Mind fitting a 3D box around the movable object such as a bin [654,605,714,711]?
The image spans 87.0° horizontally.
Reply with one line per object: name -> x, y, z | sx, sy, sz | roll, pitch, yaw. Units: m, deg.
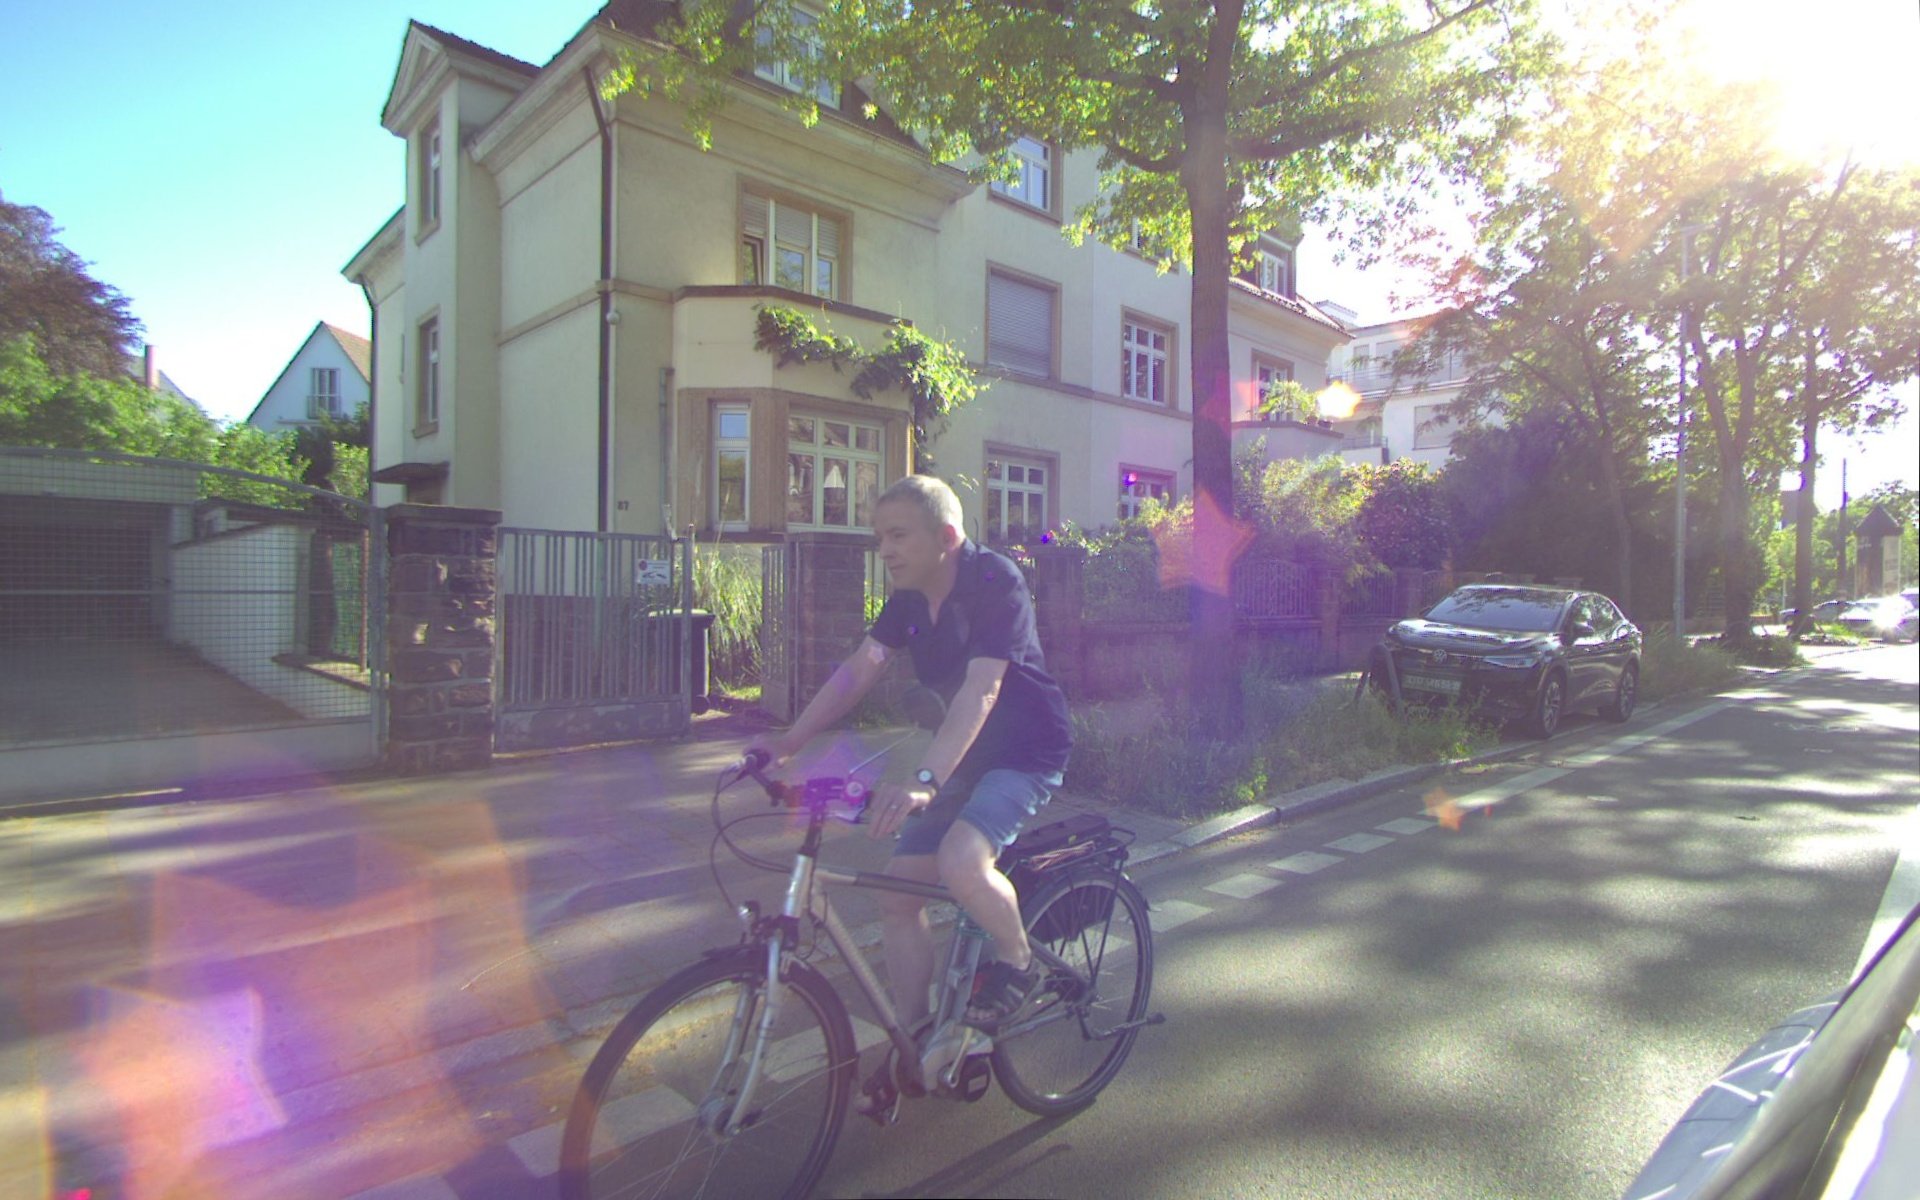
movable object such as a bin -> -2.923, 0.588, 10.681 | 0.551, 1.062, 0.676 | 0, 0, -20

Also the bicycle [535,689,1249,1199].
bicycle -> -0.042, 0.868, 2.567 | 1.823, 1.125, 0.588 | 0, 0, -41

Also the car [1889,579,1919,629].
car -> 36.670, 0.137, 37.868 | 4.580, 1.808, 1.903 | 0, 1, -35

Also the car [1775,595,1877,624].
car -> 46.063, 0.467, 53.852 | 1.784, 1.459, 3.990 | 0, 1, -44

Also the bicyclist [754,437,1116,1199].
bicyclist -> -0.070, 0.488, 2.556 | 0.654, 1.662, 0.643 | 0, 0, -41

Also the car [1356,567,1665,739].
car -> 6.709, 0.500, 12.147 | 4.186, 1.619, 1.917 | 0, 4, -42

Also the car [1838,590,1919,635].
car -> 31.510, 0.389, 34.285 | 4.181, 1.427, 1.901 | 0, 1, -38
